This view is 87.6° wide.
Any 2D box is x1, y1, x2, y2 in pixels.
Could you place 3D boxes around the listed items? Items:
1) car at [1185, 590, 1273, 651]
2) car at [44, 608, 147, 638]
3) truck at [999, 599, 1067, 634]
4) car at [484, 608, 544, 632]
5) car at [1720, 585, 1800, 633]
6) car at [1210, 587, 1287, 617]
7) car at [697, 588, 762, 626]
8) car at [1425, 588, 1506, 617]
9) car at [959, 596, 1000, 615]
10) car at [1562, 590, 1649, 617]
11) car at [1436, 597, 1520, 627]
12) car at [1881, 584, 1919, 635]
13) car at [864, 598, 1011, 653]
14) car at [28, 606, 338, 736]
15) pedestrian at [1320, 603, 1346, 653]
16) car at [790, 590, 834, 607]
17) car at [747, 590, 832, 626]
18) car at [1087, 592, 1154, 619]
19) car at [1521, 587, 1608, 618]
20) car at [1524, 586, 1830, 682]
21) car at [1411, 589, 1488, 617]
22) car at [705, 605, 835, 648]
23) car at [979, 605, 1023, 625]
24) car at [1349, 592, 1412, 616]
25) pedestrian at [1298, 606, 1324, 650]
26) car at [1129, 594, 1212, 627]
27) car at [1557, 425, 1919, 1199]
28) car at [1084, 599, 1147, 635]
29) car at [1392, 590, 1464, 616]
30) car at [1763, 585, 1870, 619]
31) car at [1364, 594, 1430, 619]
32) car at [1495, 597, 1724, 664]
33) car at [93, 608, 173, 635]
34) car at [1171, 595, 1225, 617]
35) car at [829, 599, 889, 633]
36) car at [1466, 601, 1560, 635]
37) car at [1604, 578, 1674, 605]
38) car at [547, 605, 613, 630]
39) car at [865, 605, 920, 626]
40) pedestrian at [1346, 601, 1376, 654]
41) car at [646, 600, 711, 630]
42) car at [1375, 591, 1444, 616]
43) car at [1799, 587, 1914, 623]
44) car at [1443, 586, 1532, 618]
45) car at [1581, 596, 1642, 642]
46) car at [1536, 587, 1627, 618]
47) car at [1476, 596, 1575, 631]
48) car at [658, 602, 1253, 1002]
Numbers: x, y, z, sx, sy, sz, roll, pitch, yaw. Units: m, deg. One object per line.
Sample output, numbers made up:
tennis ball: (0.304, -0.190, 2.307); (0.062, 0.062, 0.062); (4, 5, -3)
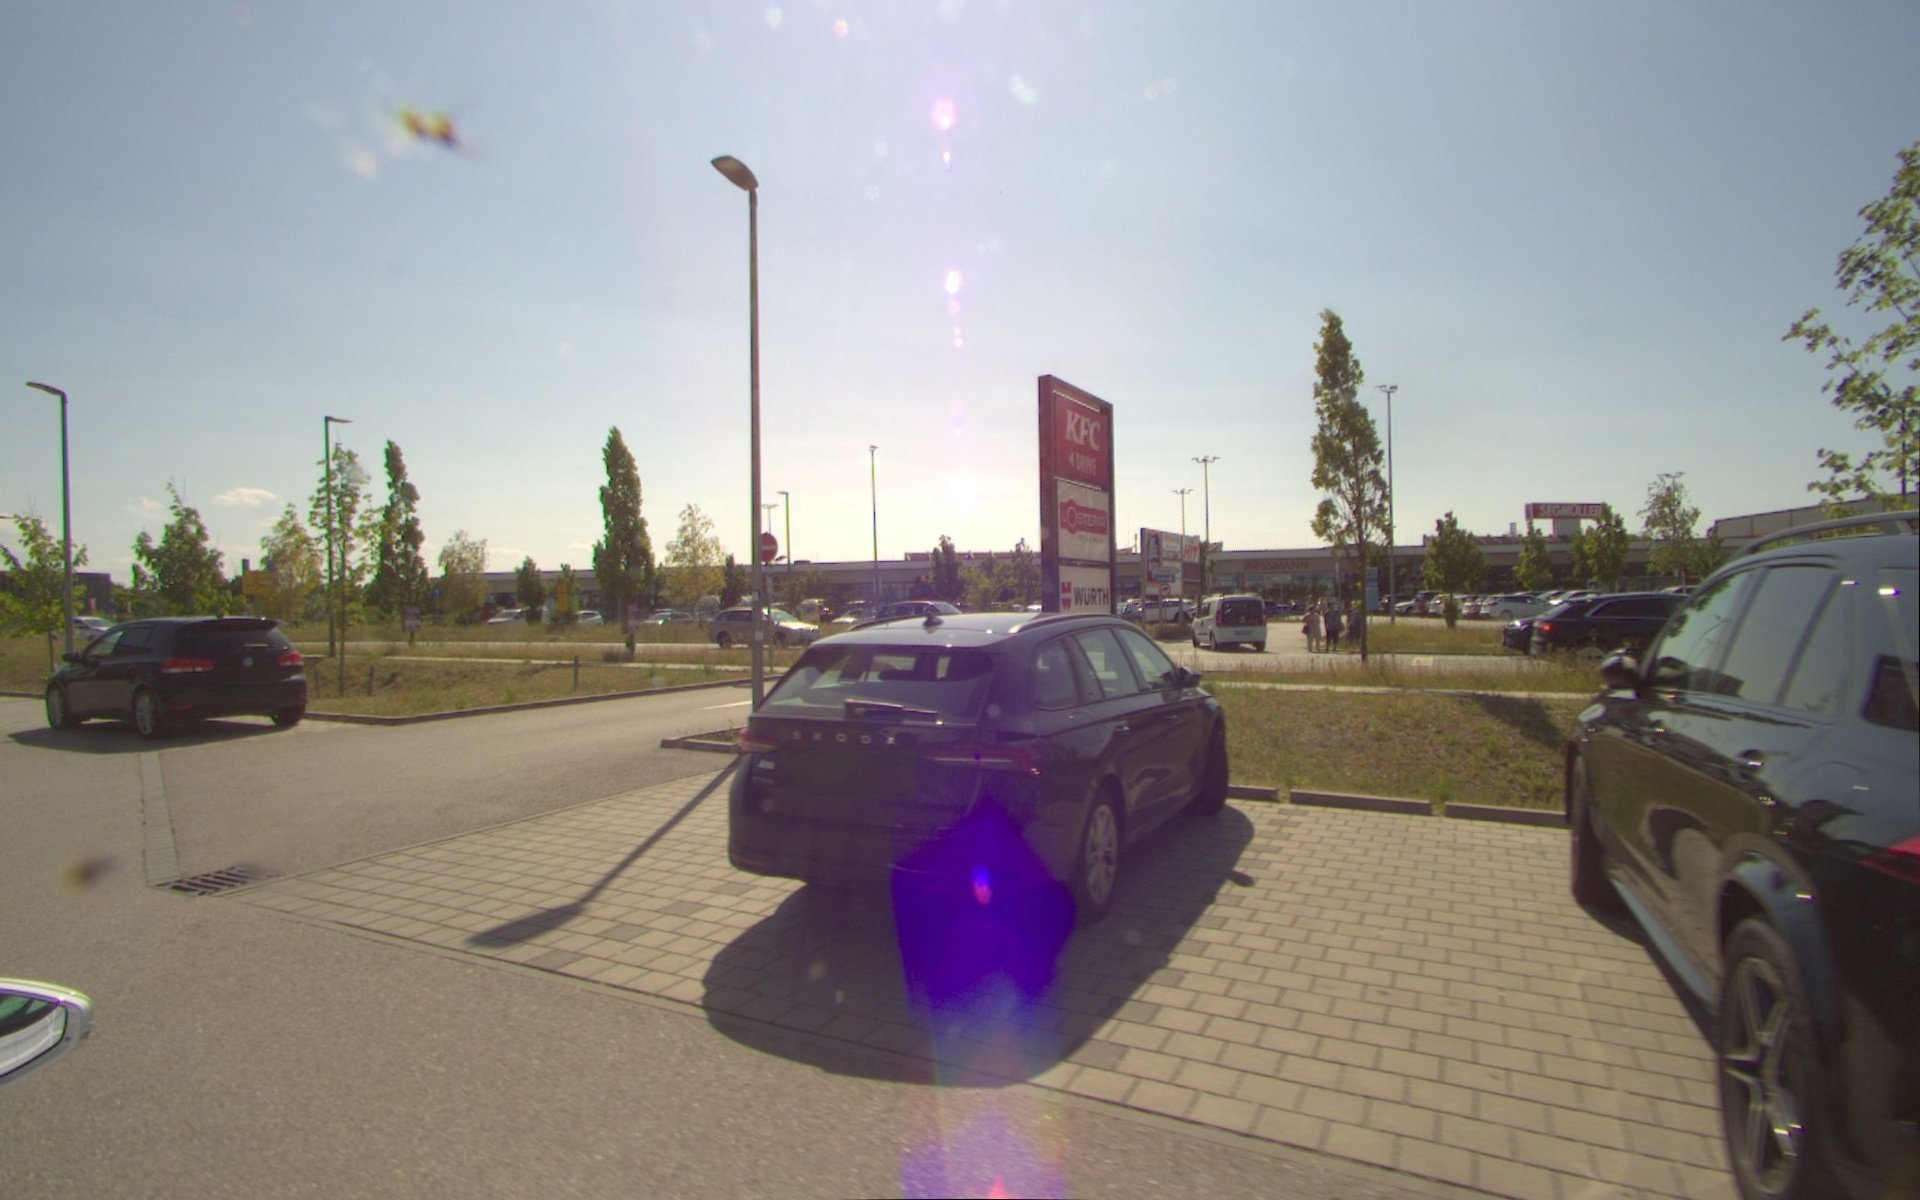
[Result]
car: (9.254, 0.694, 34.860); (1.842, 1.980, 4.895); (0, 0, 1)
car: (-43.630, 1.141, 50.567); (3.923, 1.503, 1.878); (0, 0, 9)
truck: (4.222, 0.911, 56.946); (1.968, 1.888, 5.413); (0, 0, 27)
car: (-32.054, 1.406, 72.024); (1.811, 1.639, 3.656); (0, 0, 26)
car: (32.598, 0.368, 40.945); (1.927, 1.880, 4.384); (0, 0, 30)
car: (18.524, 0.137, 64.403); (4.485, 1.880, 1.955); (0, 0, 7)
car: (-15.365, 0.478, 67.031); (1.964, 2.488, 5.069); (0, 0, 17)
car: (33.072, 0.171, 65.587); (4.319, 1.880, 1.955); (0, 0, 7)
car: (1.680, 0.472, 85.558); (3.408, 1.572, 1.667); (0, 0, 2)
car: (46.316, 0.248, 71.904); (4.855, 1.880, 1.955); (0, 0, 7)
car: (32.575, 0.736, 63.080); (4.319, 1.880, 1.955); (0, 0, 7)
car: (37.282, 0.354, 38.437); (1.927, 1.880, 4.384); (0, 0, 30)
car: (-0.774, 0.809, 32.970); (4.531, 1.686, 1.871); (0, 0, 28)
car: (-10.620, 0.867, 13.656); (4.057, 1.497, 1.833); (-1, 1, 29)
pedestrian: (11.952, 0.883, 32.055); (0.658, 1.576, 0.622); (0, 0, 33)
car: (-12.660, -0.134, 85.493); (3.420, 1.418, 1.430); (0, 0, 15)
car: (-11.116, 0.523, 65.895); (2.768, 2.267, 6.298); (0, 0, 20)
car: (12.192, 0.428, 76.324); (4.836, 2.040, 2.082); (0, 0, 3)
car: (38.514, 0.165, 63.866); (4.319, 1.880, 1.955); (0, 0, 7)
car: (14.128, 0.635, 20.140); (4.682, 1.756, 1.993); (0, 0, 26)
car: (33.244, 0.193, 68.103); (4.319, 1.880, 1.955); (0, 0, 7)
car: (-7.016, 0.940, 36.868); (4.531, 1.503, 1.871); (0, 0, 28)
car: (3.198, 1.170, 77.742); (3.408, 1.572, 1.667); (0, 0, 2)
car: (34.267, 0.316, 81.742); (4.319, 1.880, 1.955); (0, 0, 5)
pedestrian: (11.586, 0.928, 33.057); (0.714, 1.416, 0.862); (-1, -1, 25)
car: (12.398, 0.634, 59.035); (4.350, 1.870, 1.987); (0, 0, 37)
car: (3.297, 0.645, 3.208); (1.864, 1.783, 4.577); (-1, -1, 25)
car: (8.457, 0.906, 54.138); (1.969, 1.870, 4.714); (0, 0, 28)
car: (34.270, 0.242, 73.415); (4.319, 1.880, 1.955); (0, 0, 5)
car: (49.109, 0.125, 57.488); (4.319, 1.880, 1.955); (0, 0, 7)
car: (34.442, 0.510, 78.990); (4.319, 1.880, 1.955); (0, 0, 5)
car: (16.795, 0.757, 26.224); (4.725, 1.646, 1.994); (0, 0, 23)
car: (-51.580, 1.308, 62.542); (1.681, 1.619, 3.666); (0, 0, 8)
car: (20.204, 0.530, 85.183); (4.319, 1.880, 1.955); (0, 0, 7)
car: (-6.317, 0.991, 63.291); (1.964, 2.040, 5.172); (0, 0, 17)
car: (31.908, 1.033, 57.859); (4.319, 1.880, 1.955); (0, 0, 7)
car: (51.693, -0.629, 76.255); (3.924, 2.040, 1.999); (0, 0, 10)
car: (-27.118, 1.224, 71.610); (1.965, 1.748, 4.415); (0, 0, 20)
car: (-5.321, 1.200, 79.340); (3.927, 1.639, 1.997); (0, 0, 16)
pedestrian: (12.663, 0.860, 31.637); (0.746, 1.621, 0.688); (0, 0, 33)
car: (-19.596, 1.035, 70.045); (1.964, 2.040, 5.069); (0, 0, 17)
car: (34.171, 0.267, 76.221); (4.319, 1.880, 1.955); (0, 0, 5)
car: (48.751, 0.280, 54.525); (4.319, 1.880, 1.955); (0, 0, 7)
car: (31.736, 0.122, 60.299); (4.319, 1.880, 1.955); (0, 0, 7)
car: (27.843, 0.792, 42.898); (1.970, 1.880, 4.266); (0, 0, 30)
car: (38.160, 0.143, 61.542); (4.319, 1.880, 1.955); (0, 0, 7)
car: (31.032, 0.747, 55.050); (4.319, 1.880, 1.955); (0, 0, 7)
car: (0.428, 0.771, 6.183); (1.848, 1.506, 4.438); (0, 0, 27)
